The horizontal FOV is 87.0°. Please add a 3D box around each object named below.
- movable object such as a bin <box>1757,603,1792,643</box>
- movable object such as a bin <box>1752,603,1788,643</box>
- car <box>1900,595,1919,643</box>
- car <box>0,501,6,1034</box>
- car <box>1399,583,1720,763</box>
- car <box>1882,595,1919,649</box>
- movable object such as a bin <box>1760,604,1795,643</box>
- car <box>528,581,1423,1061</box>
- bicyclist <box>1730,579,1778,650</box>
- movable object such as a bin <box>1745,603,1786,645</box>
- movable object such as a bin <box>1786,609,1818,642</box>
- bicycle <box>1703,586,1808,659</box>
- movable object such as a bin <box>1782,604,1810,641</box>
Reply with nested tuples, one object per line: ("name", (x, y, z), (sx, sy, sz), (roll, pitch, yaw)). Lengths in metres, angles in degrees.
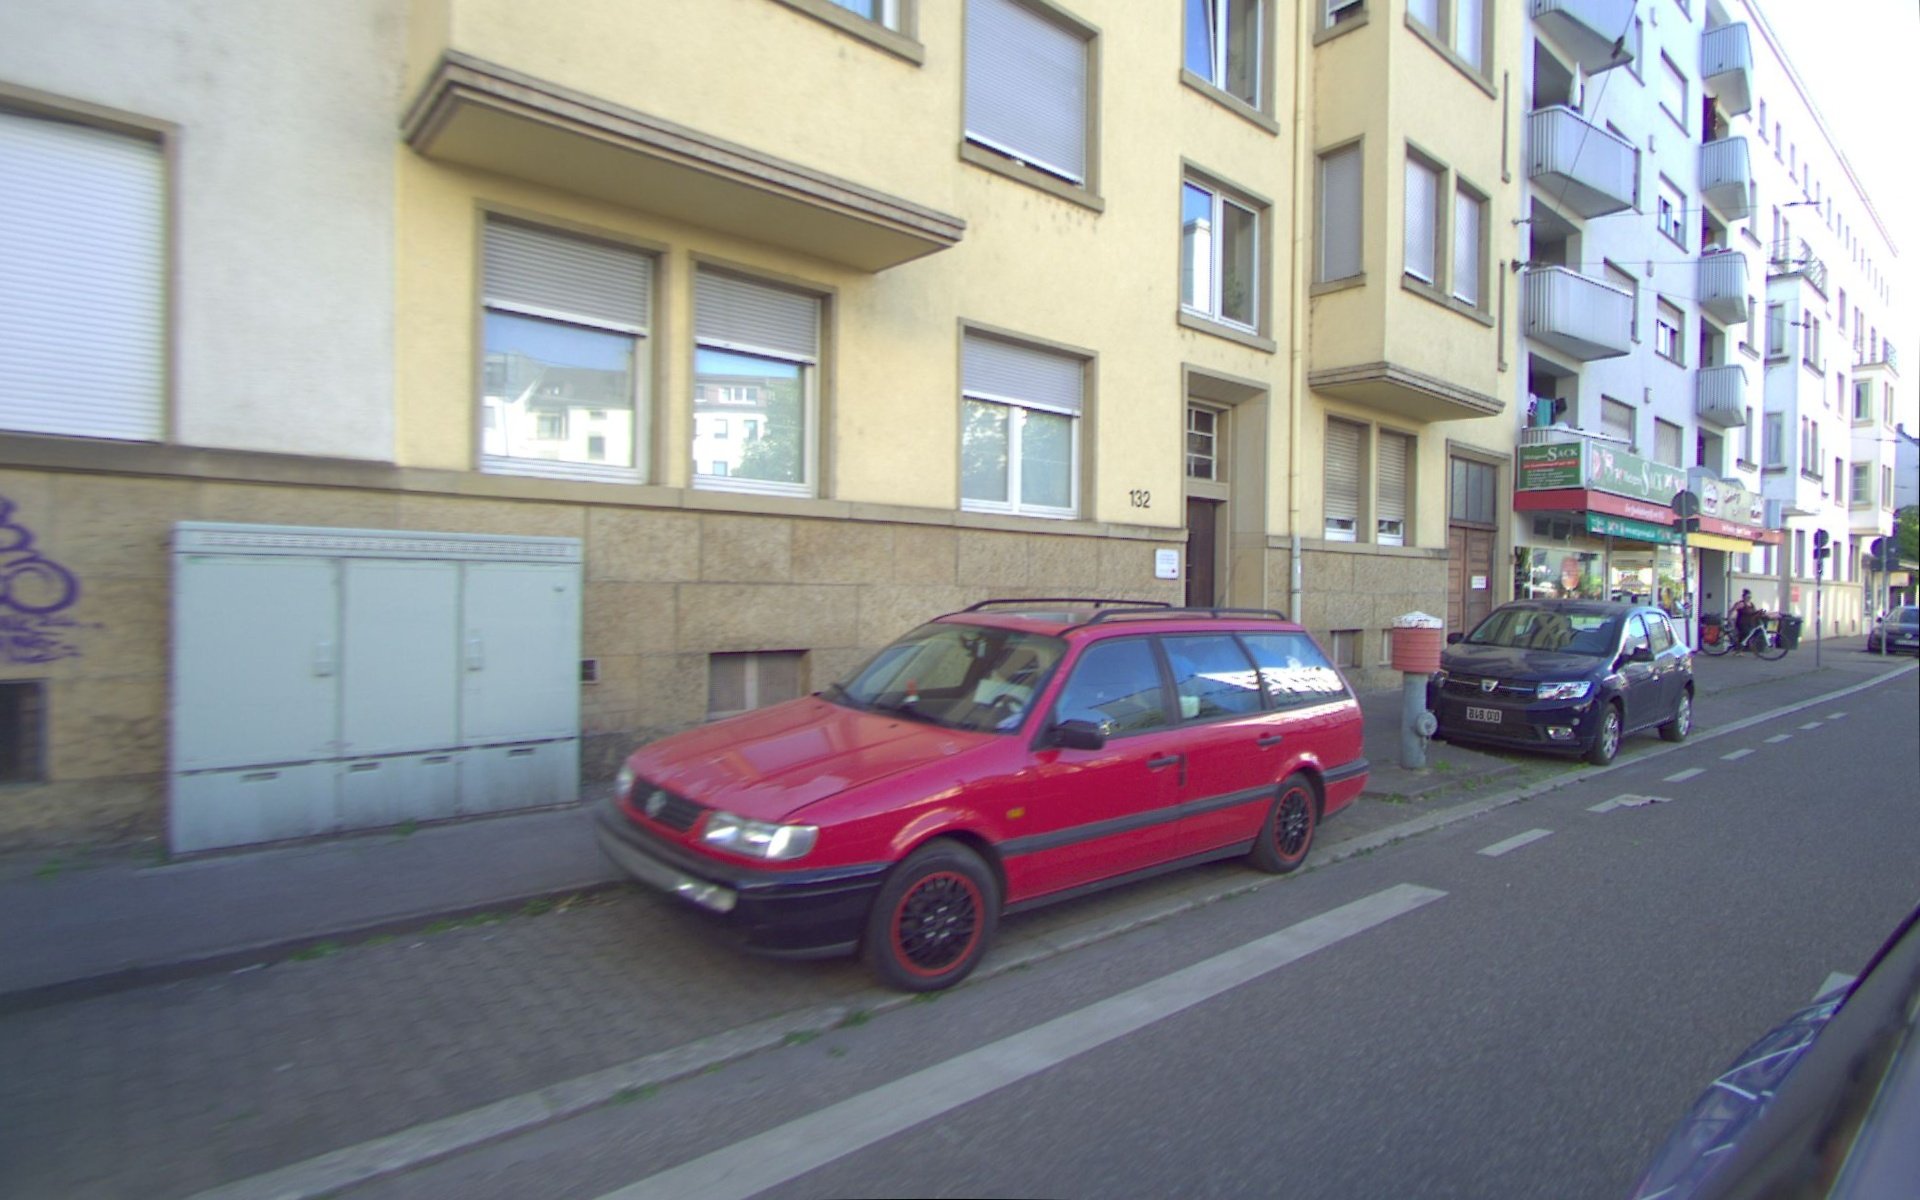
("movable object such as a bin", (22.681, 0.625, 28.171), (0.560, 1.086, 0.677), (0, 0, -41))
("movable object such as a bin", (22.240, 0.625, 27.794), (0.560, 1.086, 0.677), (0, 0, -41))
("car", (31.939, 0.642, 32.606), (3.917, 1.490, 1.862), (0, 4, -40))
("car", (-4.246, 0.557, 1.136), (4.480, 1.686, 1.863), (0, 1, -40))
("car", (6.417, 0.606, 10.672), (3.931, 1.509, 1.722), (0, 2, -41))
("car", (28.079, 0.620, 29.081), (4.280, 1.424, 1.715), (0, 4, -40))
("movable object such as a bin", (23.115, 0.651, 28.623), (0.560, 1.086, 0.677), (0, 0, -41))
("car", (0.414, 0.660, 5.331), (4.625, 1.474, 1.863), (0, 1, -40))
("bicyclist", (19.730, 0.351, 25.158), (0.500, 1.724, 0.845), (0, 0, -37))
("movable object such as a bin", (21.740, 0.635, 27.318), (0.607, 1.086, 0.771), (0, 0, -41))
("movable object such as a bin", (24.440, 0.725, 29.377), (0.560, 0.928, 0.656), (0, 0, -41))
("bicycle", (19.675, 0.527, 25.065), (0.761, 1.732, 1.936), (0, 0, -37))
("movable object such as a bin", (24.792, 0.653, 30.019), (0.545, 1.070, 0.559), (0, 0, -41))
